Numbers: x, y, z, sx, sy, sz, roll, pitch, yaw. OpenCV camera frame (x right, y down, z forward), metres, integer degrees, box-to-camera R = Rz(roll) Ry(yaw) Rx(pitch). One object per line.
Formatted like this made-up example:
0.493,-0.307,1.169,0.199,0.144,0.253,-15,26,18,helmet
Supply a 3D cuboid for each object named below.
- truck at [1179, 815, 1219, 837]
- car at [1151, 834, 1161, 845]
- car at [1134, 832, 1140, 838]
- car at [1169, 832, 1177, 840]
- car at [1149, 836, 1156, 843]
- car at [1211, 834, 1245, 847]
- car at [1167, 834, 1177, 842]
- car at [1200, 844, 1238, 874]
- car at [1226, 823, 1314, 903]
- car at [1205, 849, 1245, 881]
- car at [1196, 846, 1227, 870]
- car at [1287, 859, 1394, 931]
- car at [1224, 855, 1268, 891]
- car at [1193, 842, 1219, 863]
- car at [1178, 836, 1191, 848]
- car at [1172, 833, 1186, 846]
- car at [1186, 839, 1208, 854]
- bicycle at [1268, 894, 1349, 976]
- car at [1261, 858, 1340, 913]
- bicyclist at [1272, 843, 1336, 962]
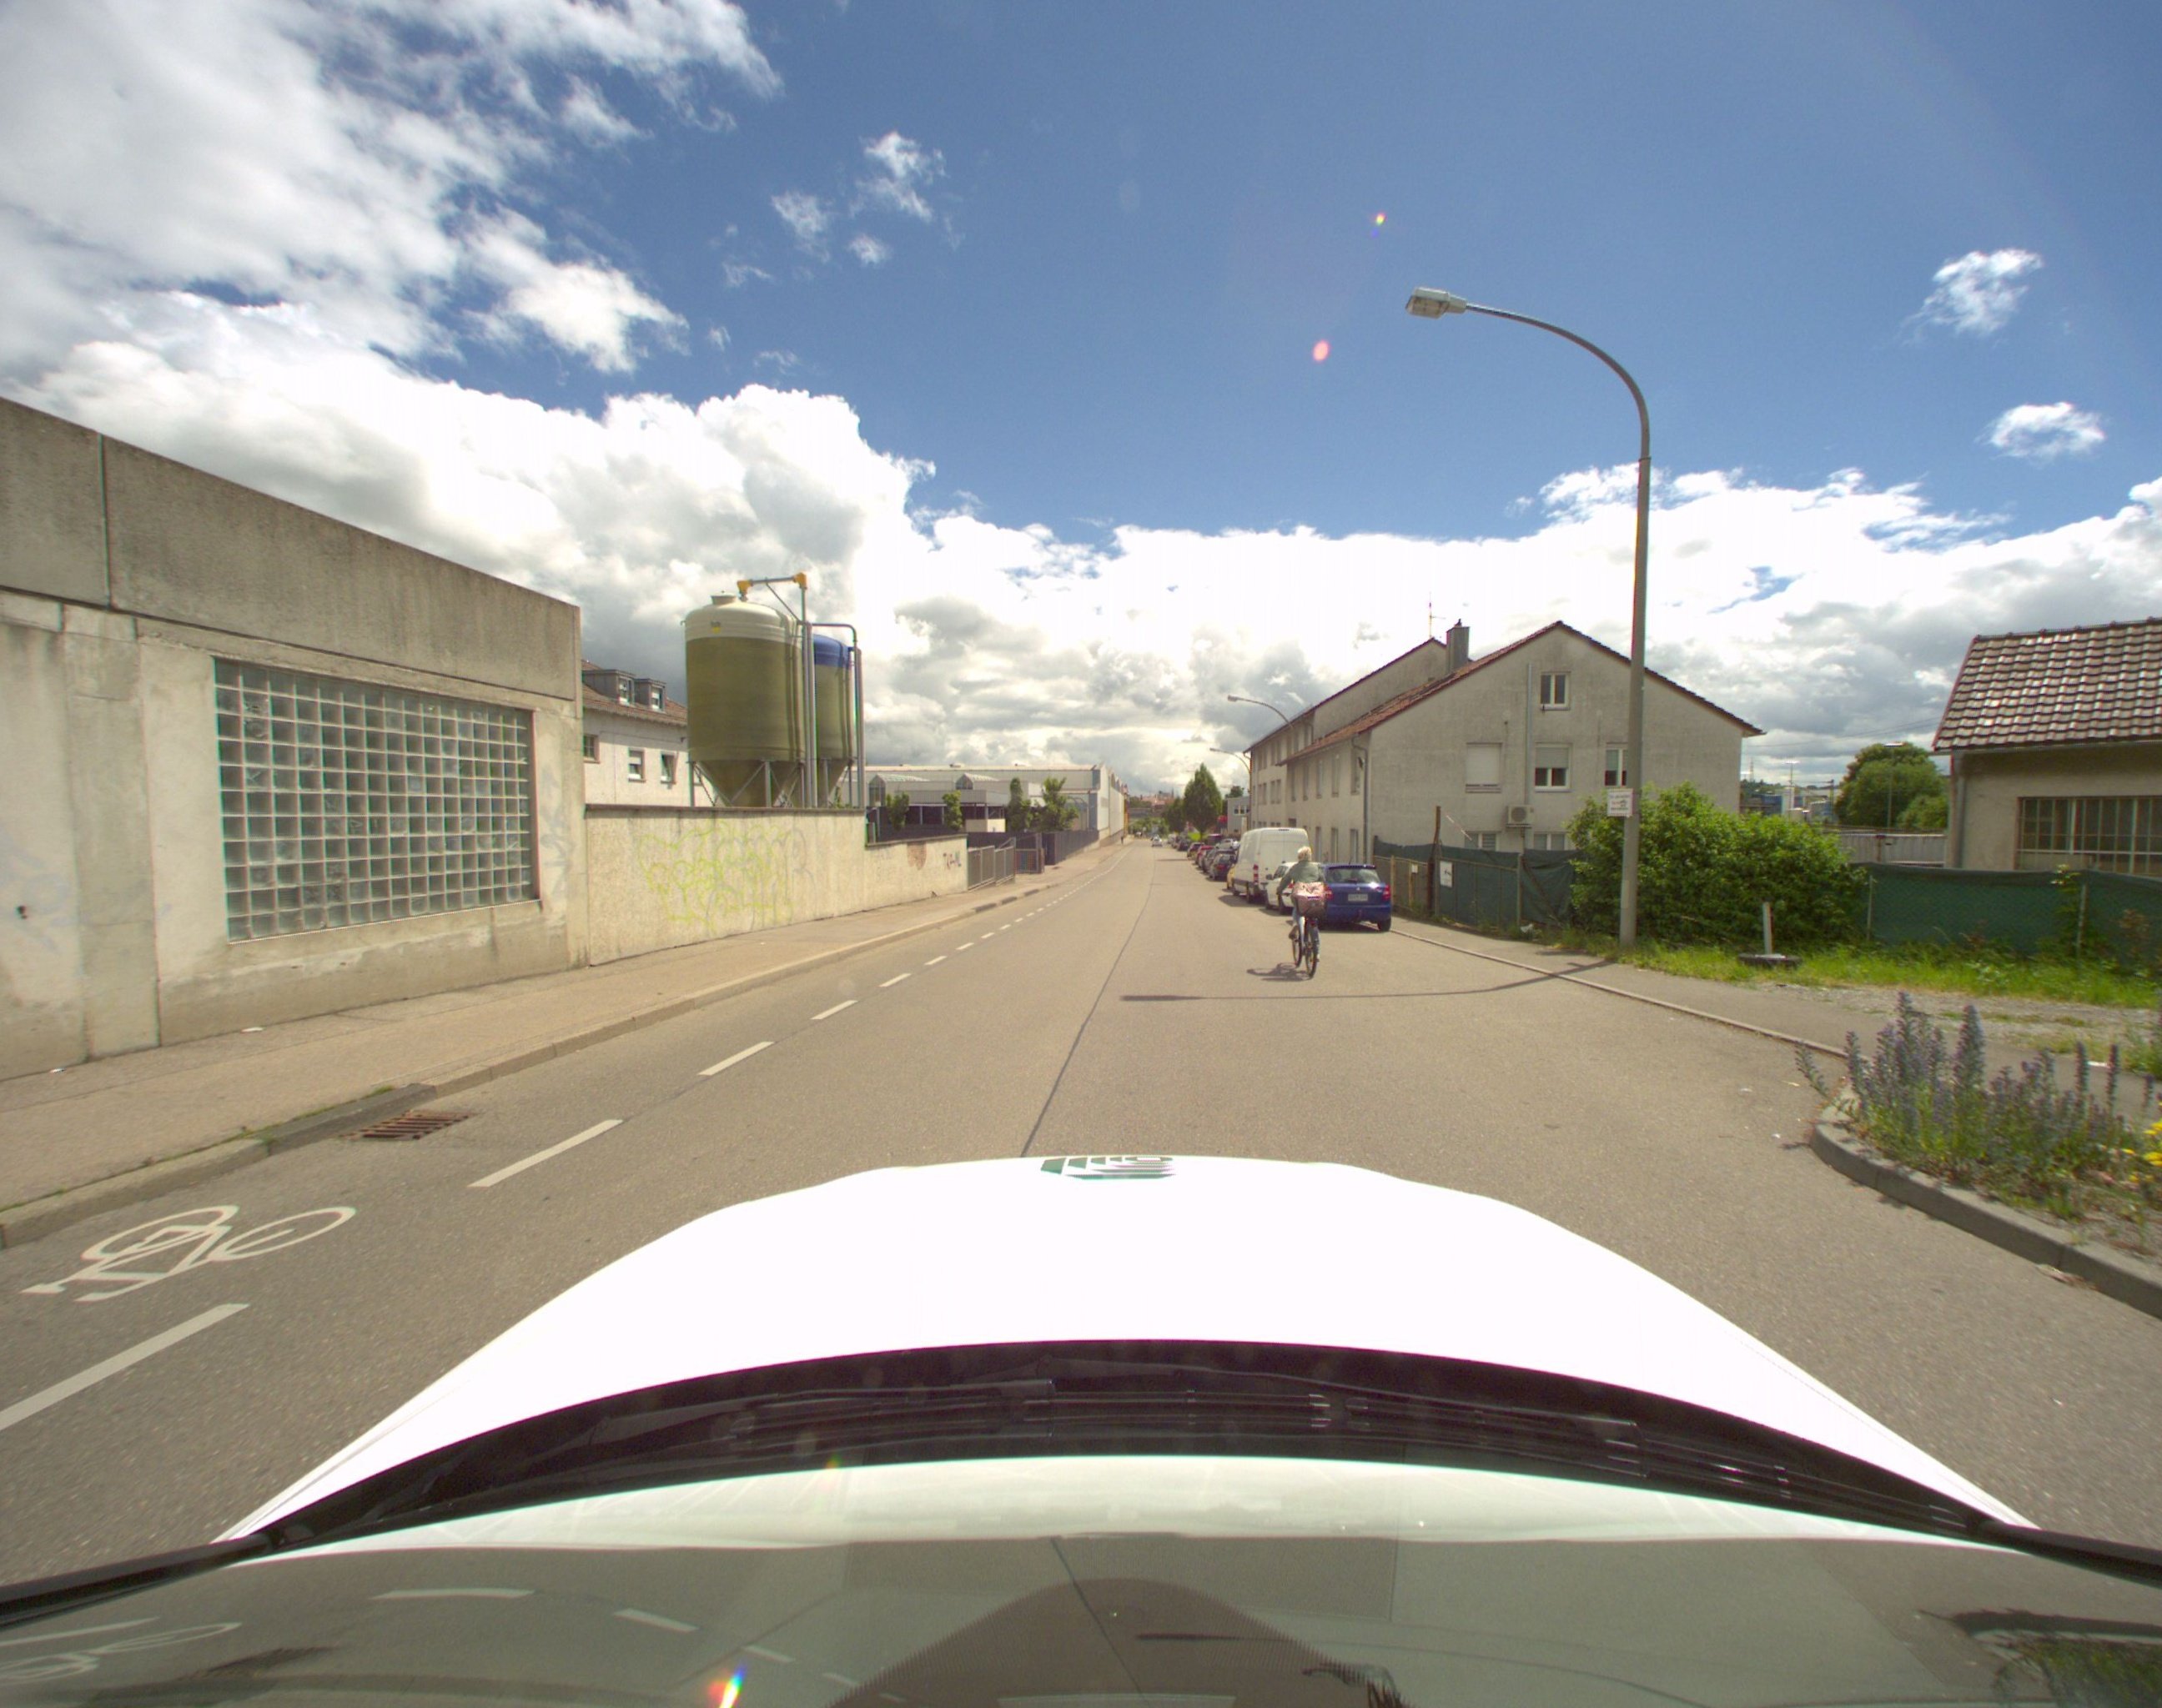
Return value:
26.064,-6.160,179.491,8.373,4.670,2.597,0,0,25,truck
12.636,-2.401,137.384,1.559,1.786,3.610,0,0,5,car
16.078,-5.434,233.752,1.844,1.486,4.005,0,0,4,car
19.919,-3.897,176.613,1.692,1.527,3.745,0,2,6,car
18.044,-3.572,205.581,1.711,1.555,4.293,-3,0,4,car
18.090,-1.671,100.443,1.732,1.462,4.032,-4,2,-34,car
18.520,-3.278,166.156,1.695,1.527,3.739,3,2,1,car
8.820,0.304,52.430,1.671,1.637,4.799,2,2,1,car
6.877,0.307,30.452,2.024,2.641,7.290,0,0,4,car
8.235,0.590,46.870,1.697,1.509,5.094,2,2,4,car
9.237,0.254,58.008,1.727,1.423,4.867,1,2,4,car
6.078,0.886,19.475,1.559,1.510,4.099,0,0,5,car
7.396,0.820,36.772,1.585,1.447,3.797,0,1,6,car
9.896,-0.176,64.690,1.726,1.472,4.269,1,2,5,car
13.626,-1.595,107.145,1.670,1.638,4.131,0,1,6,car
14.700,-2.195,122.022,1.860,1.990,5.151,0,1,5,car
11.461,-0.745,80.556,1.783,1.465,4.713,0,1,4,car
3.138,1.088,11.392,0.737,0.975,1.733,0,0,3,bicycle
6.469,0.876,24.372,1.586,1.510,3.794,0,0,4,car
3.142,0.669,11.515,0.736,1.626,0.732,0,0,2,bicyclist
